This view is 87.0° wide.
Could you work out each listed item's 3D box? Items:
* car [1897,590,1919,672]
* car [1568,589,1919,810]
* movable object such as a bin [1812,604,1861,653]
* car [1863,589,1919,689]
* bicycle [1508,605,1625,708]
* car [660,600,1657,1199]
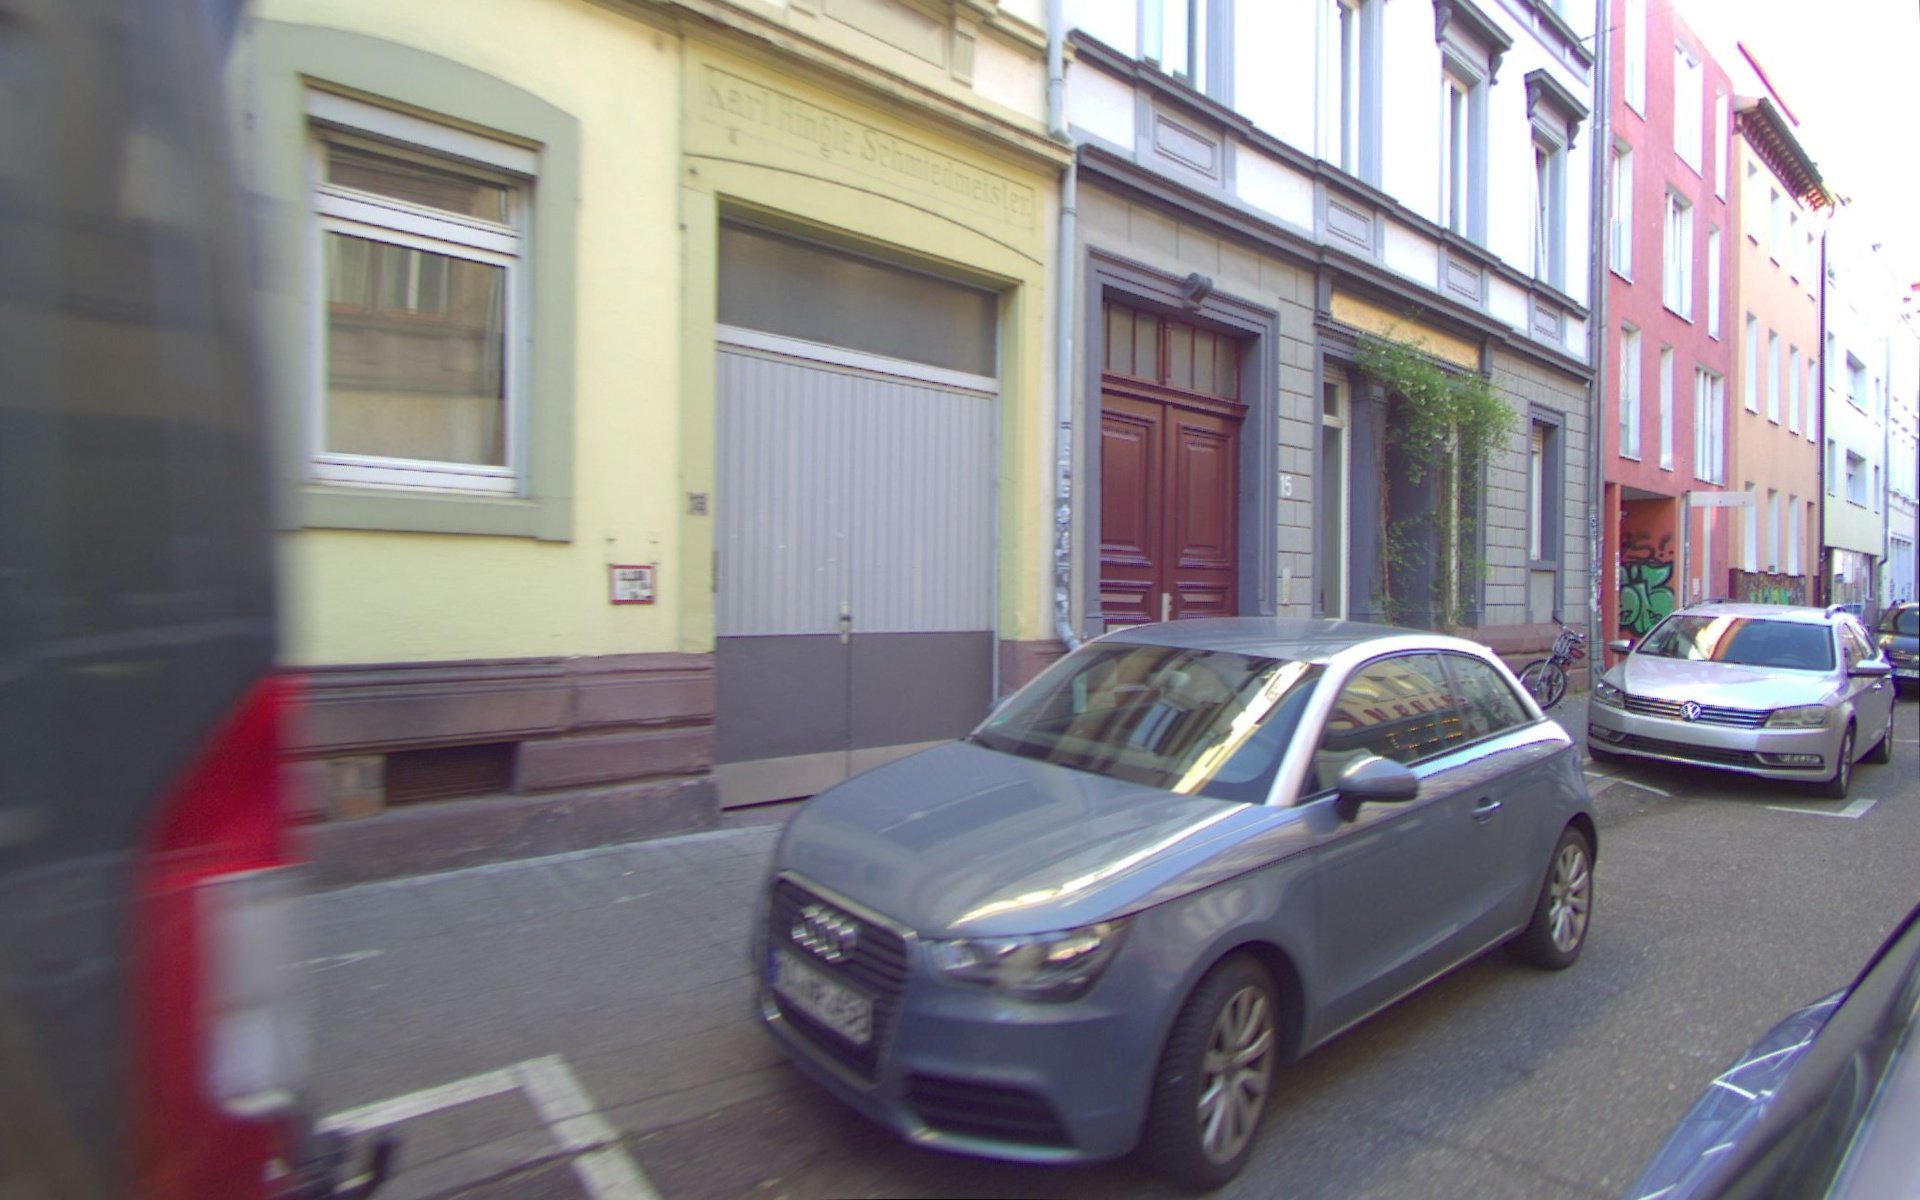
[{"bbox_3d":[20.233,0.600,20.163,4.096,1.575,1.750,0,1,-39],"label":"car"},{"bbox_3d":[7.456,0.701,9.368,4.468,1.472,1.790,0,4,-41],"label":"car"},{"bbox_3d":[20.312,0.642,23.452,0.723,1.071,0.694,0,3,-40],"label":"movable object such as a bin"},{"bbox_3d":[16.713,0.648,17.101,3.388,1.558,1.606,0,3,-39],"label":"car"},{"bbox_3d":[7.570,0.658,12.593,1.869,1.110,0.711,-1,4,-43],"label":"bicycle"},{"bbox_3d":[1.115,0.747,4.043,4.098,1.462,1.751,0,1,-40],"label":"car"}]
